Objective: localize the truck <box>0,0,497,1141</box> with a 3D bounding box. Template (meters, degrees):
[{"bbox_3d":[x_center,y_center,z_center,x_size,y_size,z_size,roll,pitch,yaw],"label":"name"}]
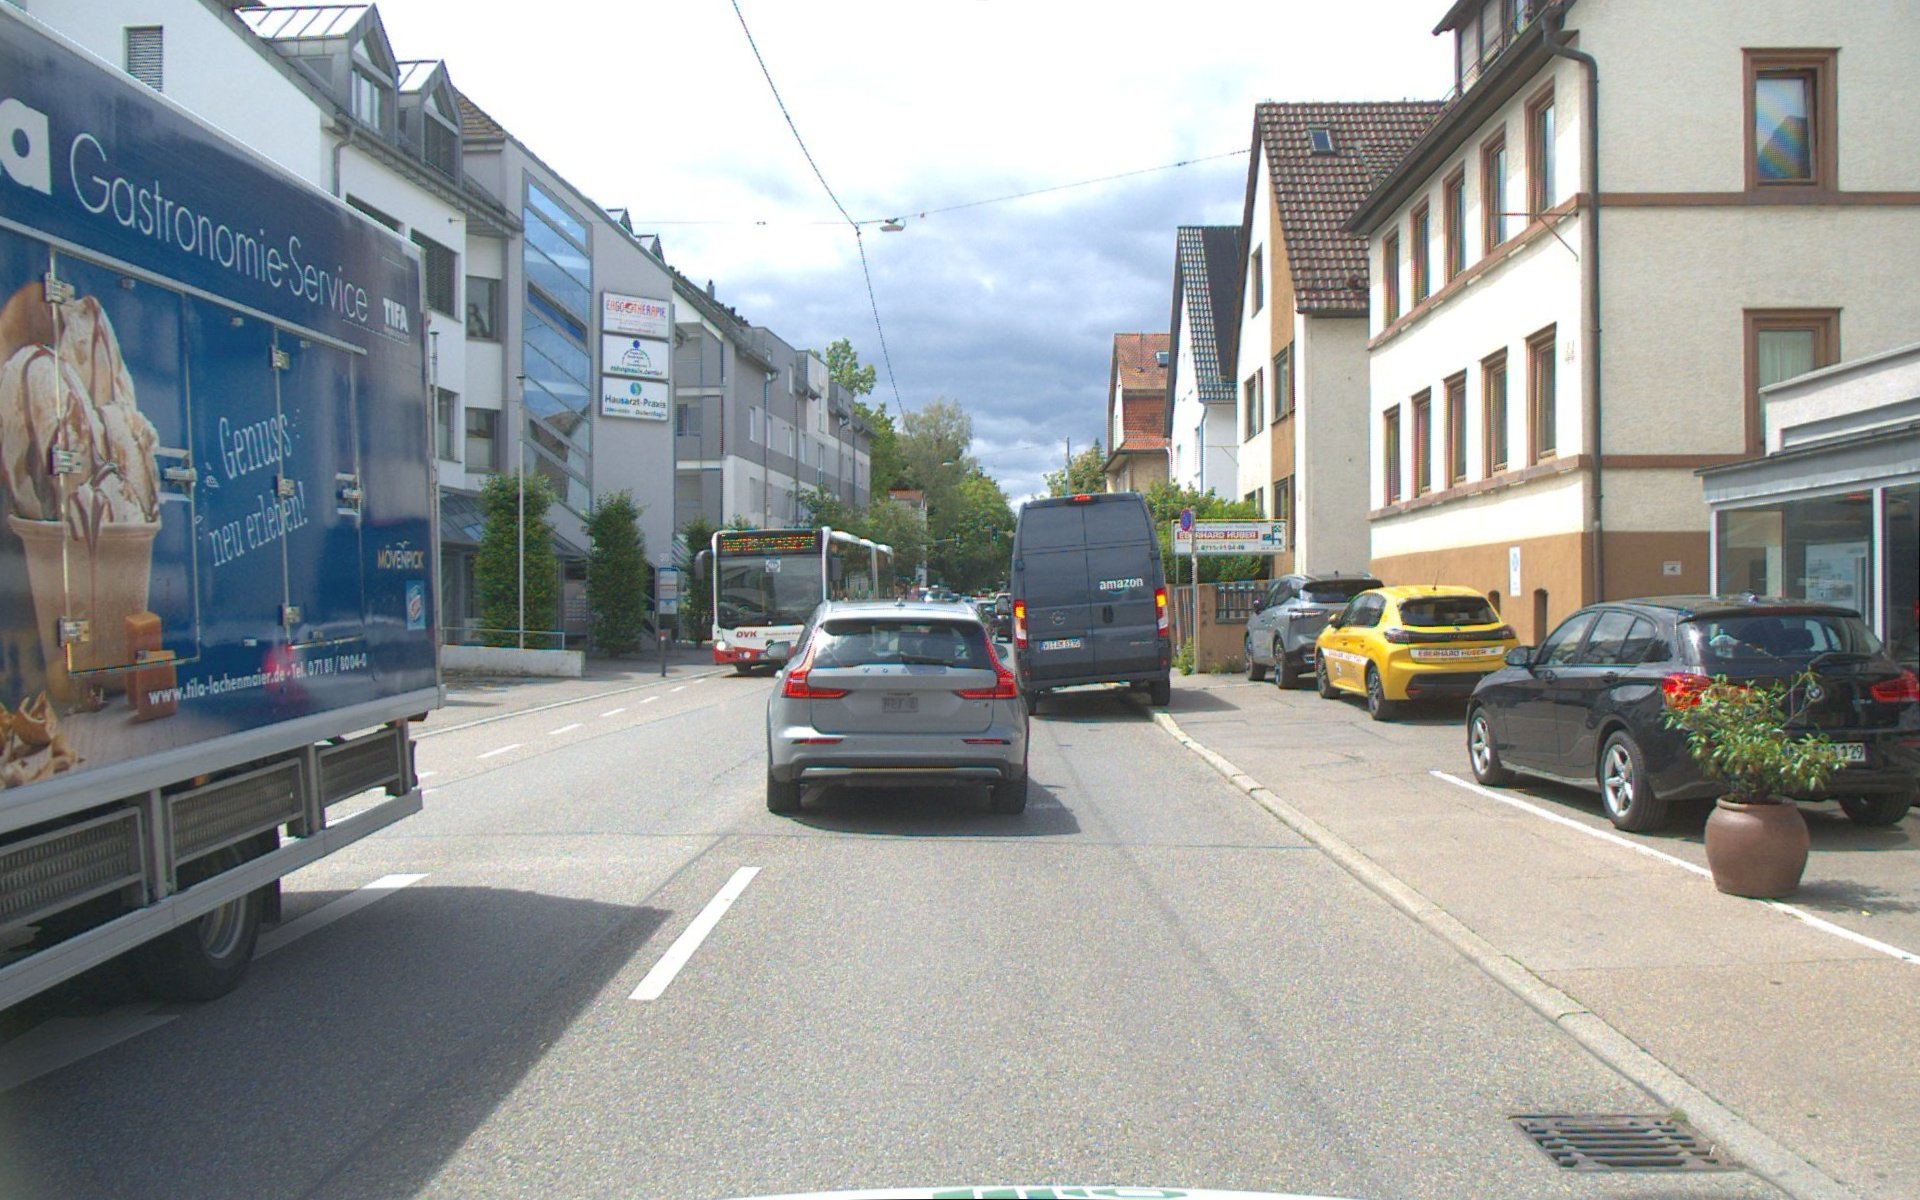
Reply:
[{"bbox_3d":[-3.970,-0.111,4.886,2.795,3.147,8.089,-1,0,1],"label":"truck"}]

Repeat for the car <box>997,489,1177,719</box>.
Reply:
[{"bbox_3d":[1.753,0.049,23.374,2.205,2.844,5.571,-1,0,3],"label":"car"}]

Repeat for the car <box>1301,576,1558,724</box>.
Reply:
[{"bbox_3d":[5.568,0.512,20.186,1.839,1.472,4.307,-1,2,-1],"label":"car"}]

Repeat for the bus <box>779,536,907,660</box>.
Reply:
[{"bbox_3d":[-3.234,-0.046,47.706,2.659,3.219,8.071,-1,0,3],"label":"bus"}]

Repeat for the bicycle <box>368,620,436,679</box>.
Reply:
[{"bbox_3d":[-11.246,0.979,33.409,0.617,1.114,2.003,-1,0,2],"label":"bicycle"}]

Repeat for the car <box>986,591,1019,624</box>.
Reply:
[{"bbox_3d":[2.718,0.492,105.967,1.953,2.049,3.999,0,0,-1],"label":"car"}]

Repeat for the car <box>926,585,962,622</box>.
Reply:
[{"bbox_3d":[-0.954,0.210,101.606,2.062,2.158,4.765,-2,0,0],"label":"car"}]

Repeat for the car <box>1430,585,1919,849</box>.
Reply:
[{"bbox_3d":[4.970,0.656,11.682,1.928,1.473,4.534,-1,0,-1],"label":"car"}]

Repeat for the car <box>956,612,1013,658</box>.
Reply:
[{"bbox_3d":[0.879,1.186,57.627,1.857,1.472,3.970,0,0,3],"label":"car"}]

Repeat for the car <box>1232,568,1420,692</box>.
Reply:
[{"bbox_3d":[5.397,0.399,24.977,1.822,1.640,4.586,-2,0,0],"label":"car"}]

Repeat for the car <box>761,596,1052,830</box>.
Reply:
[{"bbox_3d":[-0.426,0.726,12.620,1.858,1.479,3.966,1,0,-3],"label":"car"}]

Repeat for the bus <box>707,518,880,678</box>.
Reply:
[{"bbox_3d":[-3.622,-0.033,38.607,2.626,3.219,10.187,-1,0,2],"label":"bus"}]

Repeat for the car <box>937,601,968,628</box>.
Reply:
[{"bbox_3d":[-0.477,0.952,112.348,2.062,1.739,4.765,-1,0,0],"label":"car"}]

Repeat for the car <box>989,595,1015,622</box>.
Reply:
[{"bbox_3d":[3.284,0.668,128.240,1.952,2.049,4.001,0,0,3],"label":"car"}]

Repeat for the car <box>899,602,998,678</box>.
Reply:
[{"bbox_3d":[-0.179,0.789,34.617,1.857,1.472,3.970,1,0,3],"label":"car"}]
